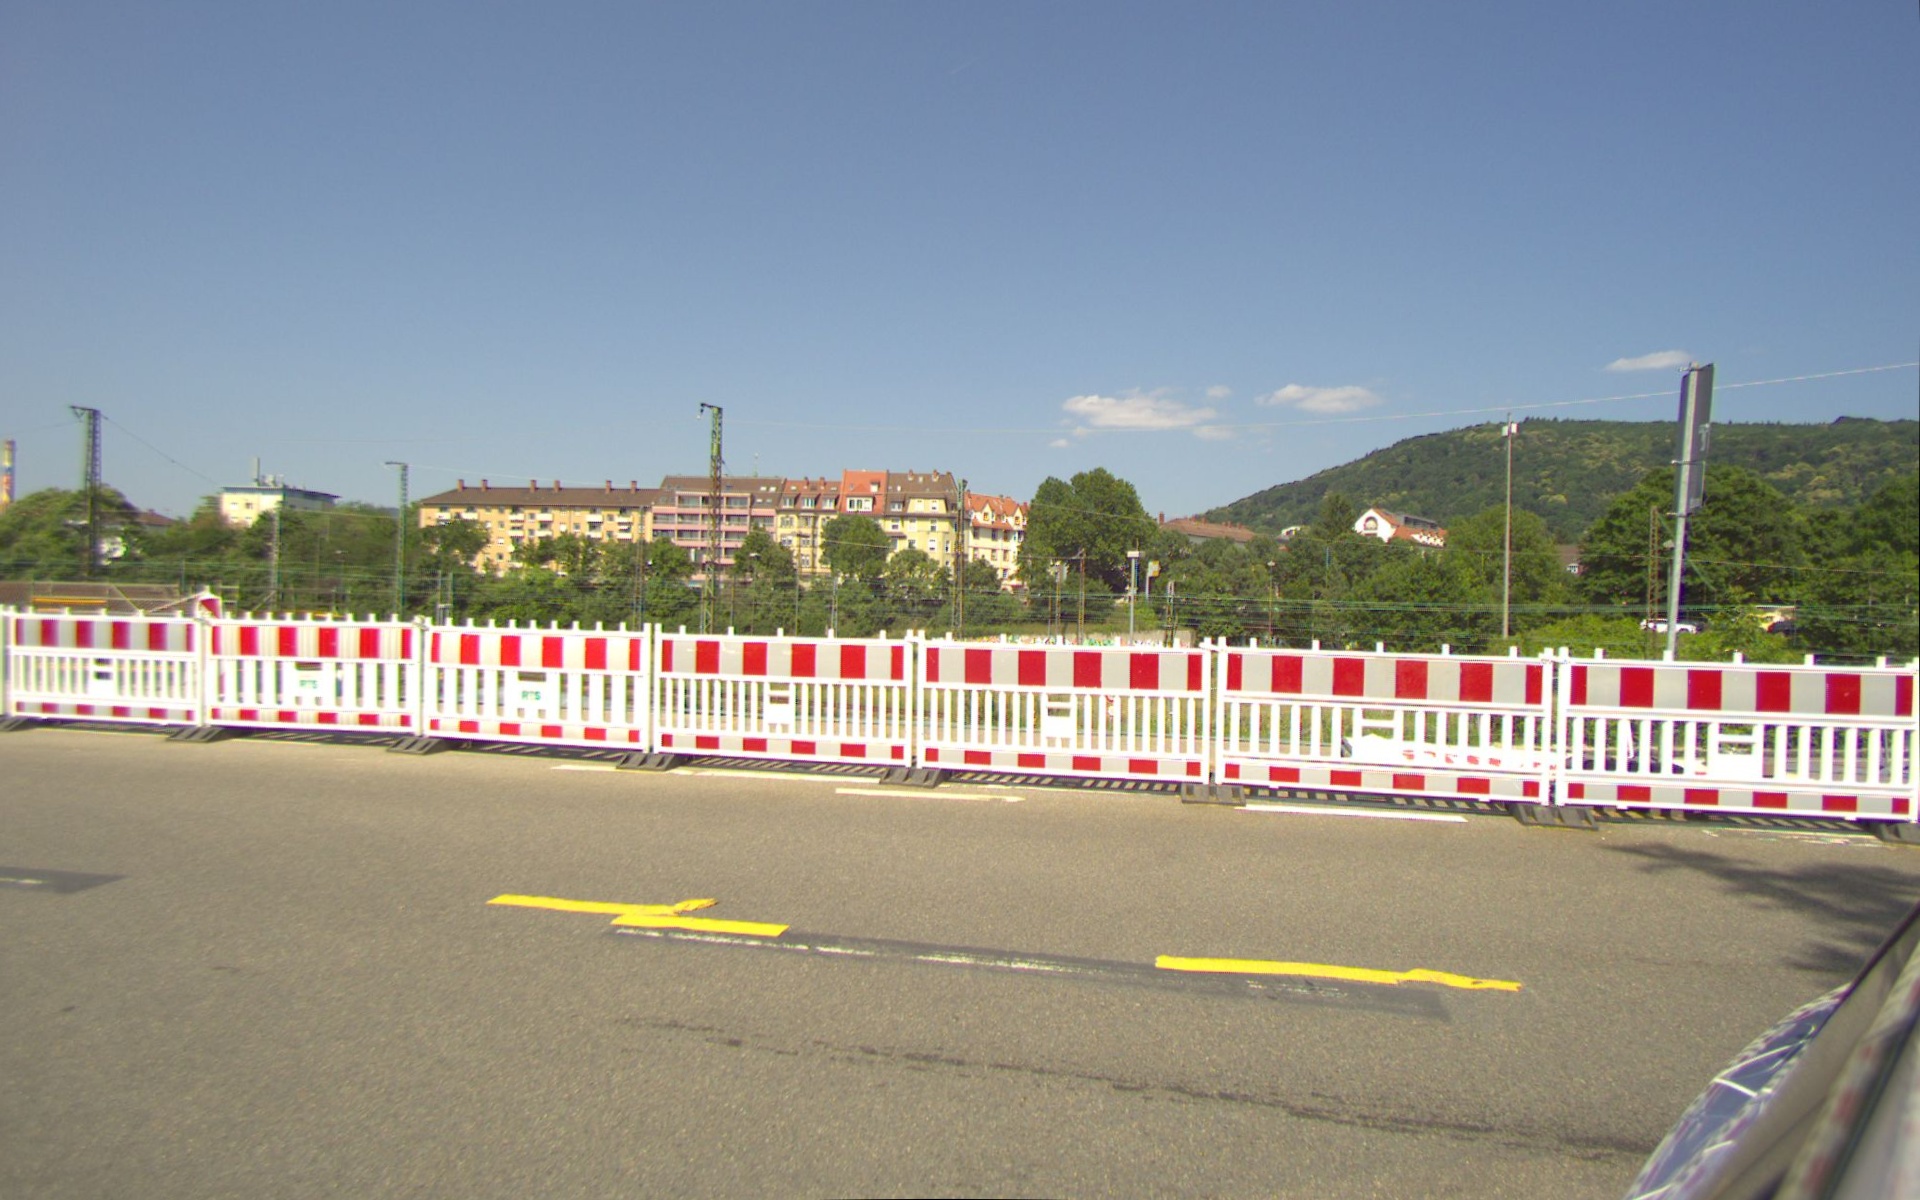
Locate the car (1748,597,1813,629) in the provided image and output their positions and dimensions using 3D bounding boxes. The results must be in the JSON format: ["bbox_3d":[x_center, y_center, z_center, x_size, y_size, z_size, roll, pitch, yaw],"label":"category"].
[{"bbox_3d":[75.662,1.157,93.380,4.616,2.888,1.840,1,-1,38],"label":"car"}]

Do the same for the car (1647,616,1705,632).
[{"bbox_3d":[68.431,2.309,96.728,1.834,1.384,4.306,1,0,-43],"label":"car"}]

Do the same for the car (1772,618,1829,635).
[{"bbox_3d":[74.723,2.368,89.977,3.830,1.384,1.755,1,0,43],"label":"car"}]
